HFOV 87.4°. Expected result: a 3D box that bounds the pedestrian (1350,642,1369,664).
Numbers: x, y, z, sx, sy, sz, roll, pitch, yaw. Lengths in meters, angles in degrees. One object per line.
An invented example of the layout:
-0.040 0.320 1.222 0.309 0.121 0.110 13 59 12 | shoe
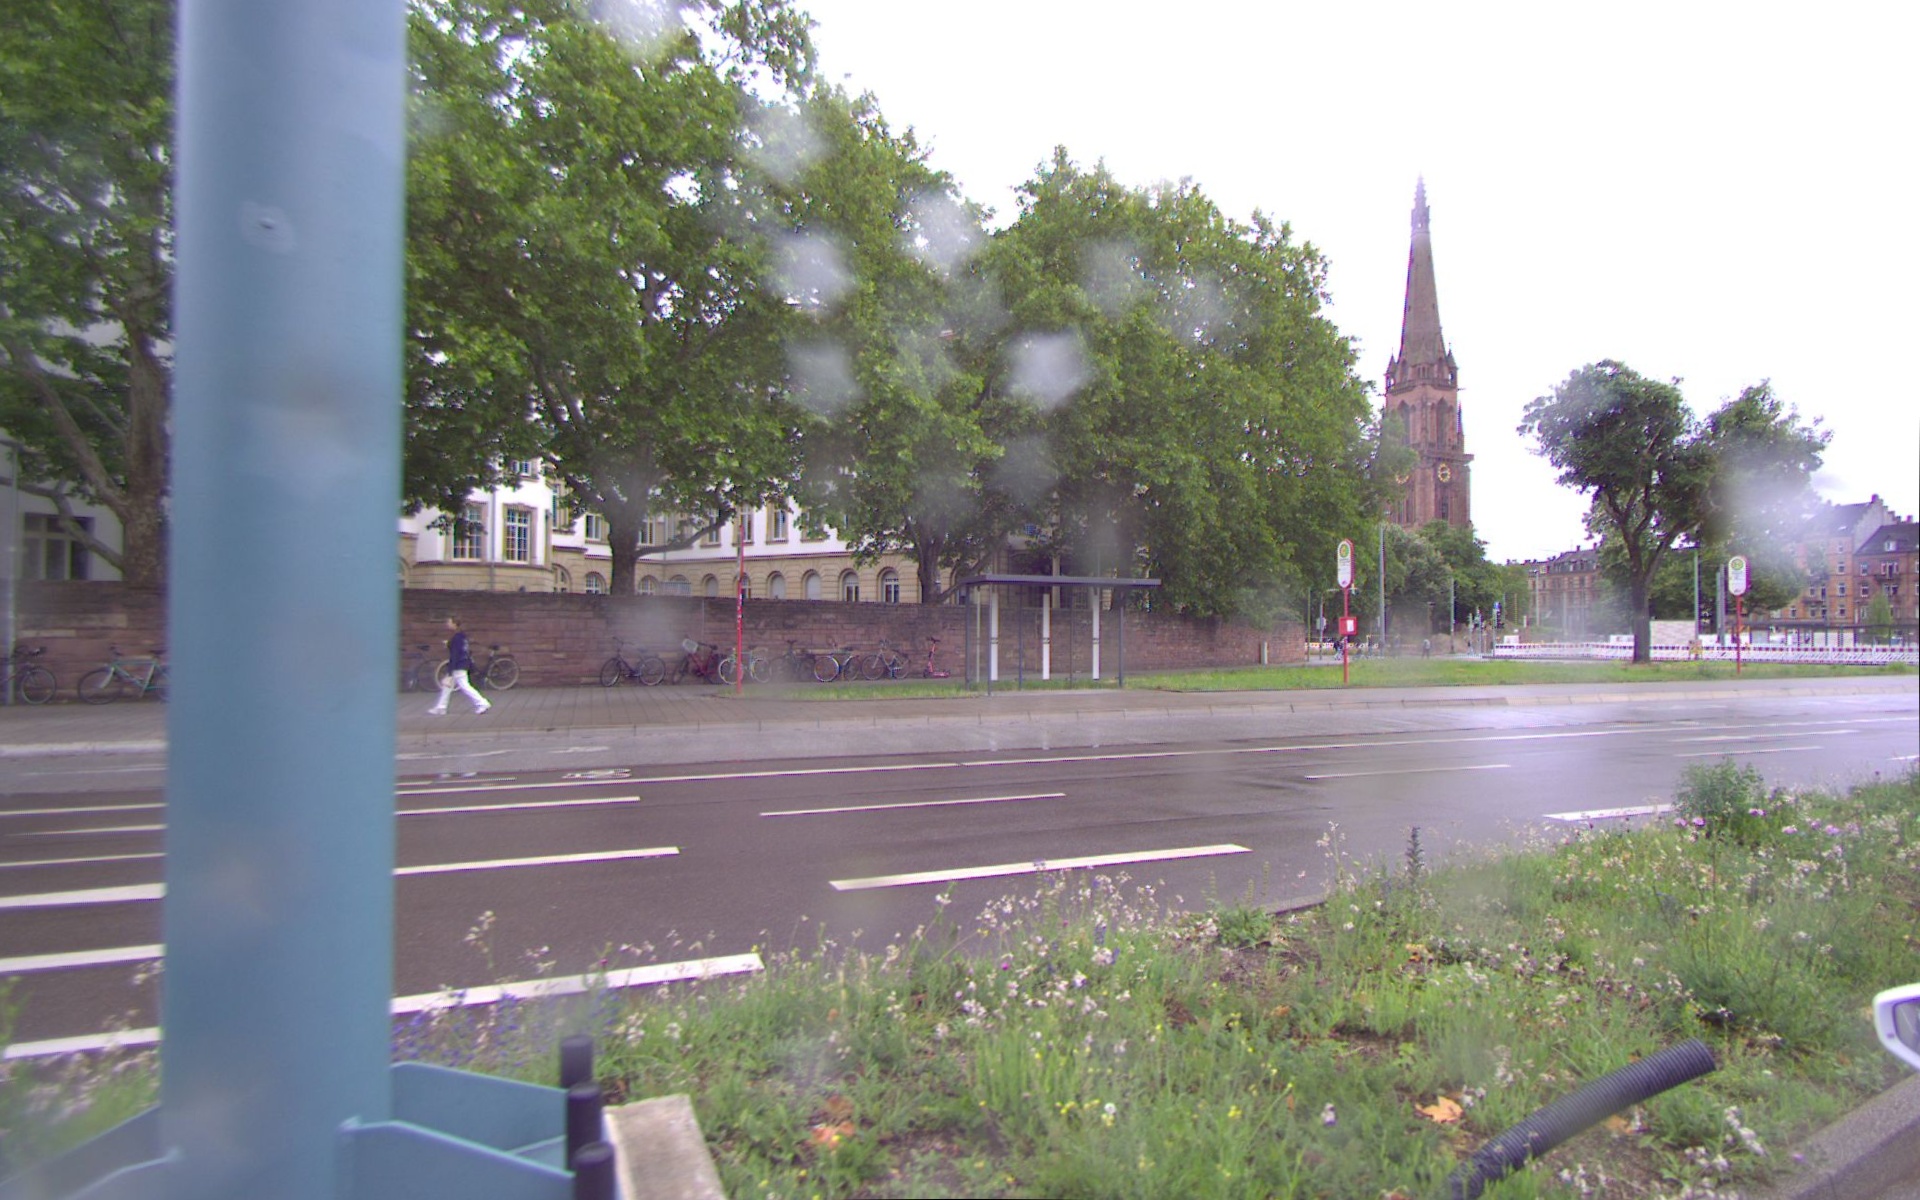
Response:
29.302 3.860 73.645 1.054 1.560 0.921 2 -2 -45 | pedestrian

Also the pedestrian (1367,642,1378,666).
34.297 4.488 83.543 0.594 1.915 0.603 1 -1 -24 | pedestrian

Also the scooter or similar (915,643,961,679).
-0.680 1.849 30.748 1.350 1.060 0.568 1 -2 -38 | scooter or similar

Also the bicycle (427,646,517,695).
-10.588 1.518 21.823 1.683 0.996 0.727 1 -1 -33 | bicycle

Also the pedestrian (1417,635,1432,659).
34.775 3.514 75.202 0.762 1.801 0.723 1 -1 -18 | pedestrian

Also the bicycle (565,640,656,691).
-8.333 1.539 24.015 1.976 1.151 0.568 1 -2 -42 | bicycle

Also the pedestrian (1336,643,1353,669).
30.455 4.406 79.599 0.941 2.040 0.855 1 -1 -18 | pedestrian

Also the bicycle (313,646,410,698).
-12.334 1.469 20.723 1.683 0.996 0.727 1 -1 -33 | bicycle

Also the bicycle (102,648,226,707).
-14.529 1.398 18.394 1.683 0.996 0.727 1 -1 -33 | bicycle

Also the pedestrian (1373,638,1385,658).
33.240 3.806 79.724 0.665 1.520 0.771 -1 -2 40 | pedestrian

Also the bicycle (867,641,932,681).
-1.776 1.794 29.817 1.974 1.151 0.568 1 -2 -38 | bicycle

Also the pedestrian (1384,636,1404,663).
32.649 3.714 75.527 1.301 2.040 0.985 2 -2 -45 | pedestrian

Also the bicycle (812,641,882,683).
-3.179 1.726 28.317 1.974 1.151 0.568 1 -2 -38 | bicycle

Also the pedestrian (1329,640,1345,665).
30.223 4.204 80.531 0.941 2.040 0.855 1 -1 -18 | pedestrian

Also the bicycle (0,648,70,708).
-16.639 1.343 17.422 1.683 0.996 0.727 1 -1 -33 | bicycle

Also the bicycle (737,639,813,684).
-4.943 1.637 26.909 1.974 1.151 0.568 1 -2 -38 | bicycle

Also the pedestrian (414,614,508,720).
-8.489 1.114 17.115 1.382 1.718 0.865 1 -1 -28 | pedestrian

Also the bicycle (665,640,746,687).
-6.436 1.590 25.489 1.976 1.151 0.568 1 -2 -42 | bicycle
